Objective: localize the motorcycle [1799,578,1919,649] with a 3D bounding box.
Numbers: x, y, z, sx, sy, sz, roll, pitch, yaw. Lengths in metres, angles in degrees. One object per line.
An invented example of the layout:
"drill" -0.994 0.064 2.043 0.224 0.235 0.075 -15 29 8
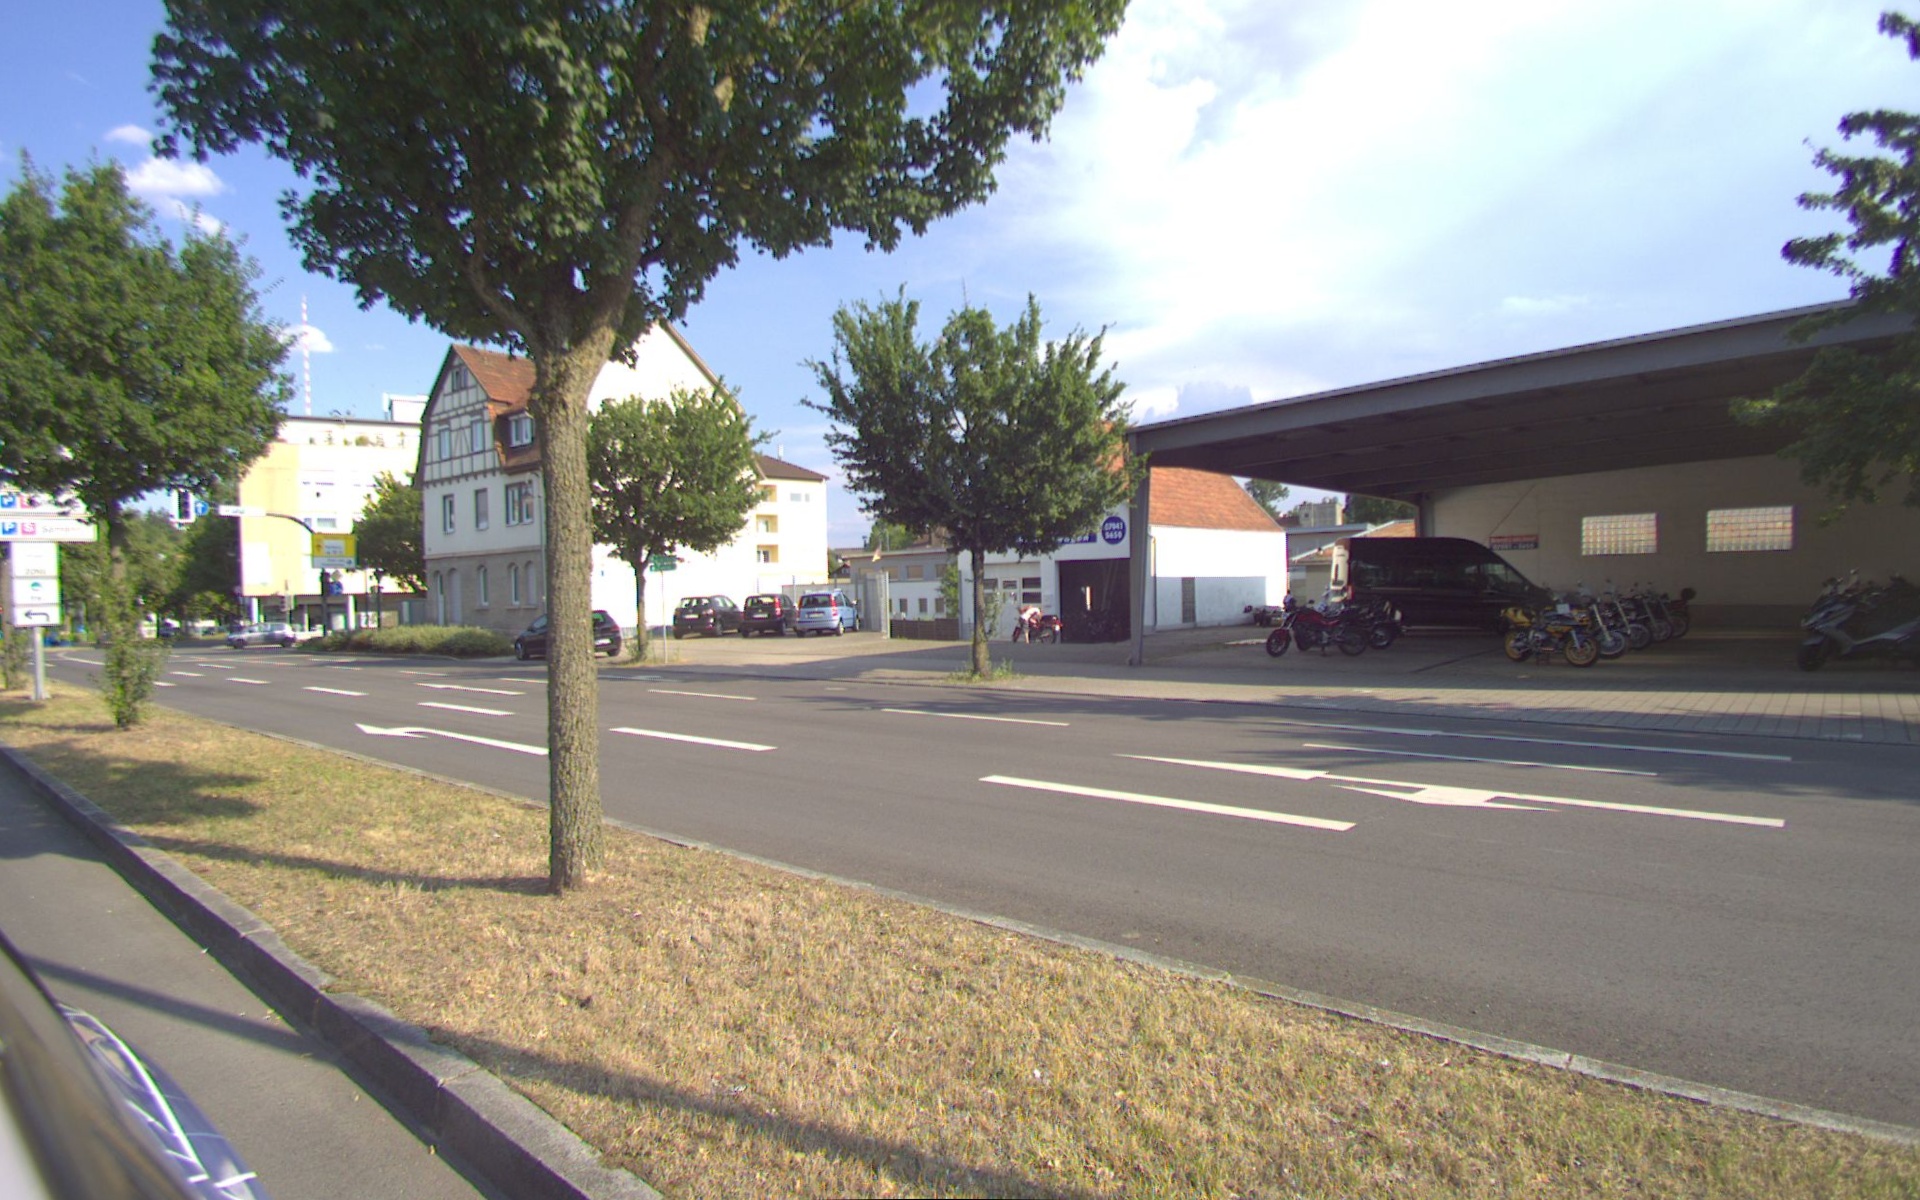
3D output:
"motorcycle" 18.037 0.273 19.997 2.103 1.306 0.628 -3 -1 18

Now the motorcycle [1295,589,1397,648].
"motorcycle" 9.372 0.455 24.617 2.198 1.372 0.630 -1 0 5

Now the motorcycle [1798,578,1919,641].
"motorcycle" 20.221 0.211 22.652 2.103 1.306 0.628 -3 -1 18

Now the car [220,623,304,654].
"car" -41.553 2.253 60.271 3.937 1.644 1.863 -1 0 -40

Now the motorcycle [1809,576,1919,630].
"motorcycle" 23.727 0.078 26.529 2.103 1.306 0.628 -3 -1 18

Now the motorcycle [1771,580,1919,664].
"motorcycle" 14.905 0.365 16.785 2.103 1.306 0.628 -3 -1 18

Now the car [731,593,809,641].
"car" -6.927 0.586 37.317 1.797 1.512 3.819 -3 2 5

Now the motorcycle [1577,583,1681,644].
"motorcycle" 15.530 0.306 23.588 0.621 1.347 2.269 -1 0 -9

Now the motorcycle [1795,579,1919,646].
"motorcycle" 19.027 0.261 21.298 2.103 1.306 0.628 -3 -1 18

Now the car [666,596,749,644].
"car" -9.328 0.690 37.710 1.797 1.512 3.819 -3 2 5

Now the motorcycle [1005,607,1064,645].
"motorcycle" 2.427 0.841 33.220 1.974 1.194 0.577 -1 0 41

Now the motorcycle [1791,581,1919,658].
"motorcycle" 16.523 0.344 18.356 2.103 1.306 0.628 -3 -1 18

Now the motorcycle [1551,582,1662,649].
"motorcycle" 13.857 0.327 21.778 0.621 1.347 2.269 -1 0 -9

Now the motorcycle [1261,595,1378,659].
"motorcycle" 7.489 0.563 21.169 2.202 1.290 0.629 -1 0 11

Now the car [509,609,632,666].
"car" -11.607 1.080 30.087 3.823 1.462 1.795 -1 2 42

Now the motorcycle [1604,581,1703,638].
"motorcycle" 17.284 0.224 25.311 0.621 1.347 2.269 -1 0 -9

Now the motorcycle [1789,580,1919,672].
"motorcycle" 13.853 0.378 15.124 2.103 1.306 0.628 -3 -1 18

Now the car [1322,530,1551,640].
"car" 12.859 -0.375 27.637 5.221 2.773 1.996 -1 0 7

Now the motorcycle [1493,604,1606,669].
"motorcycle" 10.523 0.622 18.160 0.621 1.095 2.038 -1 0 -7

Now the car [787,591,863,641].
"car" -4.689 0.521 35.687 1.797 1.512 3.819 -3 2 5

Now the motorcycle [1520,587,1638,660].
"motorcycle" 12.151 0.440 19.965 0.621 1.347 2.269 -1 0 -9

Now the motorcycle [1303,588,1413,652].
"motorcycle" 8.949 0.453 22.813 2.198 1.372 0.630 -1 0 5

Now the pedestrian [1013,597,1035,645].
"pedestrian" 2.065 0.677 32.774 0.485 1.530 0.496 -1 0 41
